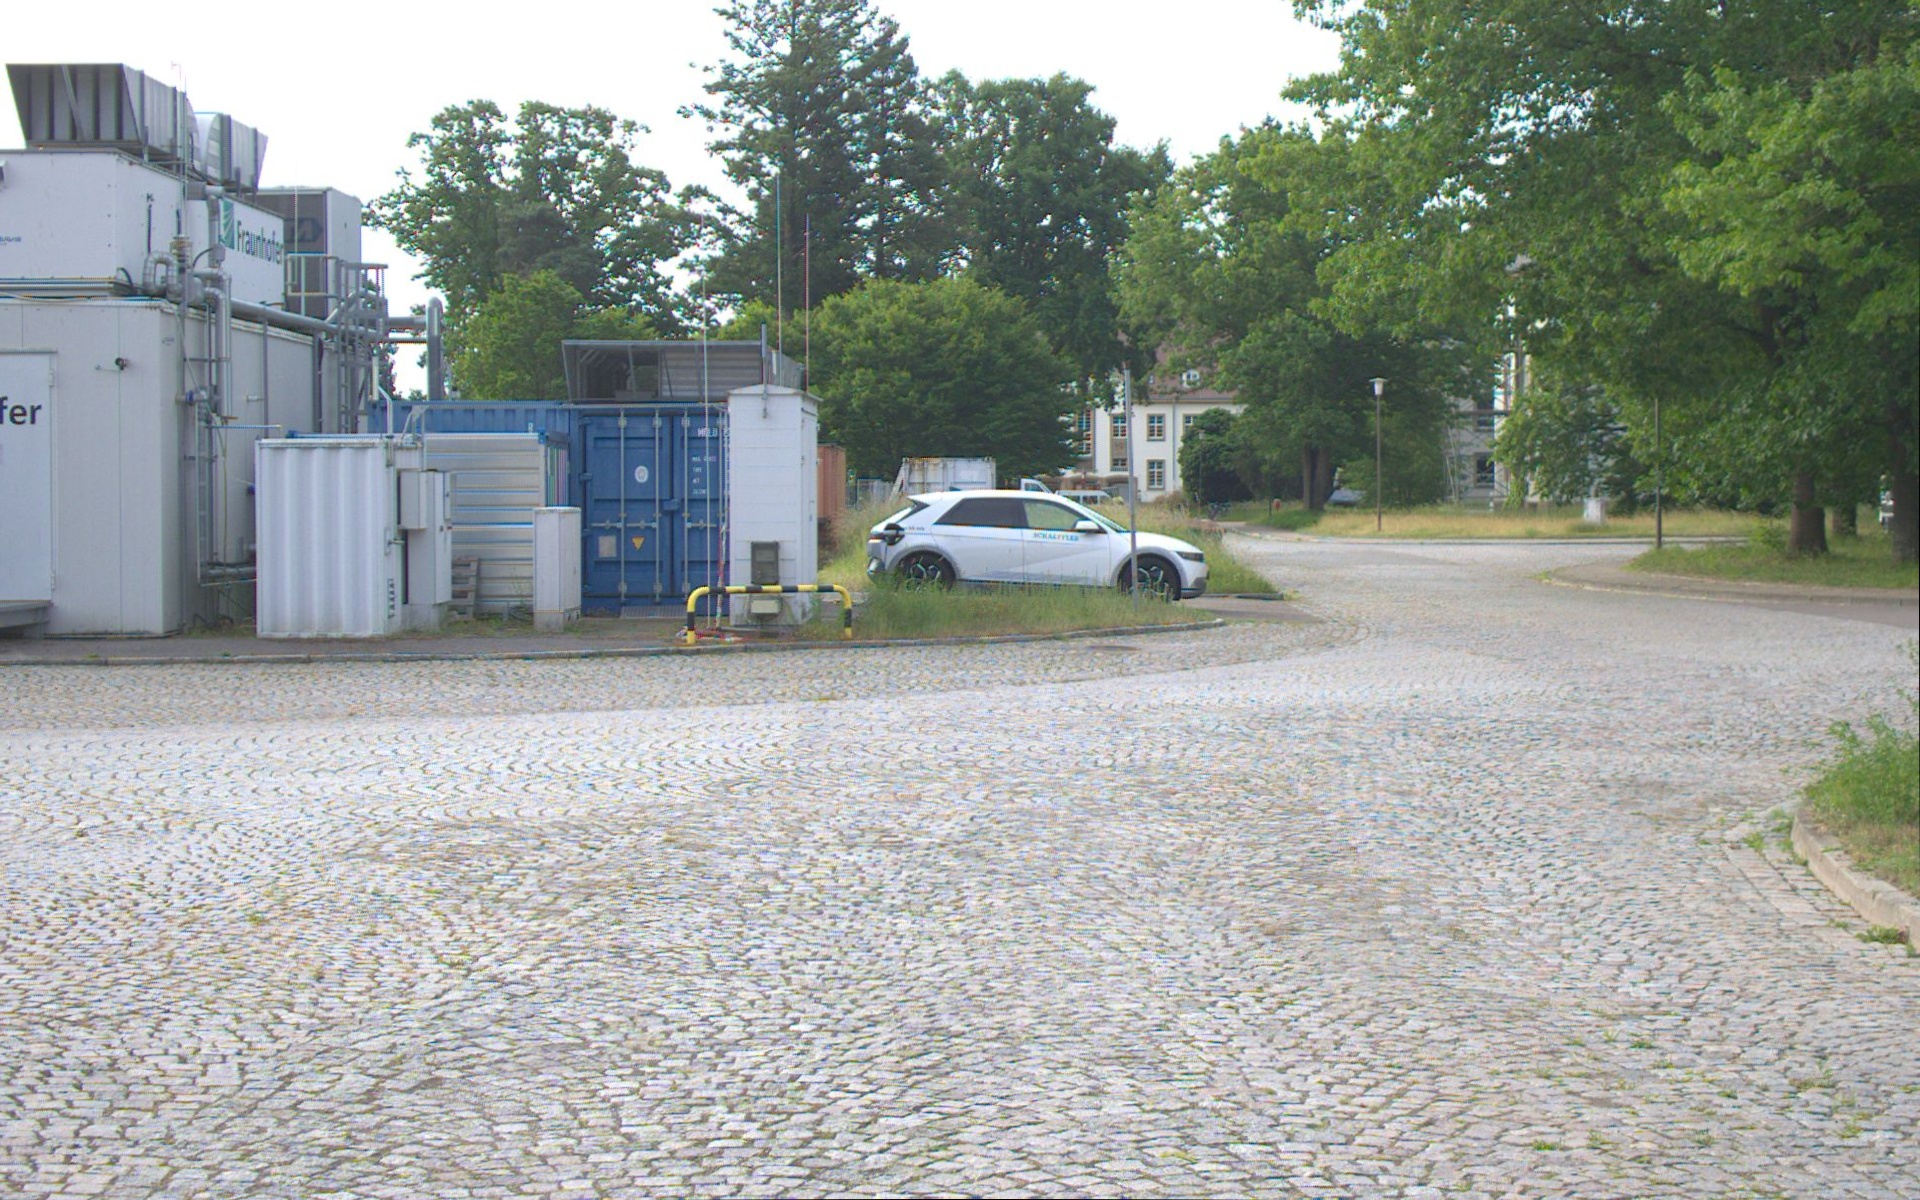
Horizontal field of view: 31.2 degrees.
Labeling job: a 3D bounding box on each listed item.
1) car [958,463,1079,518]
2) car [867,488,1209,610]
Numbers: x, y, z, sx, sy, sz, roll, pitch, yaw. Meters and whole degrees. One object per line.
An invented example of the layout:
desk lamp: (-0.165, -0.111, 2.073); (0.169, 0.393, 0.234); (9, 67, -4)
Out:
car: (2.501, -4.723, 148.094); (5.170, 2.329, 2.000); (0, 2, 1)
car: (1.090, -0.702, 46.576); (4.534, 1.594, 2.000); (0, 2, 4)
